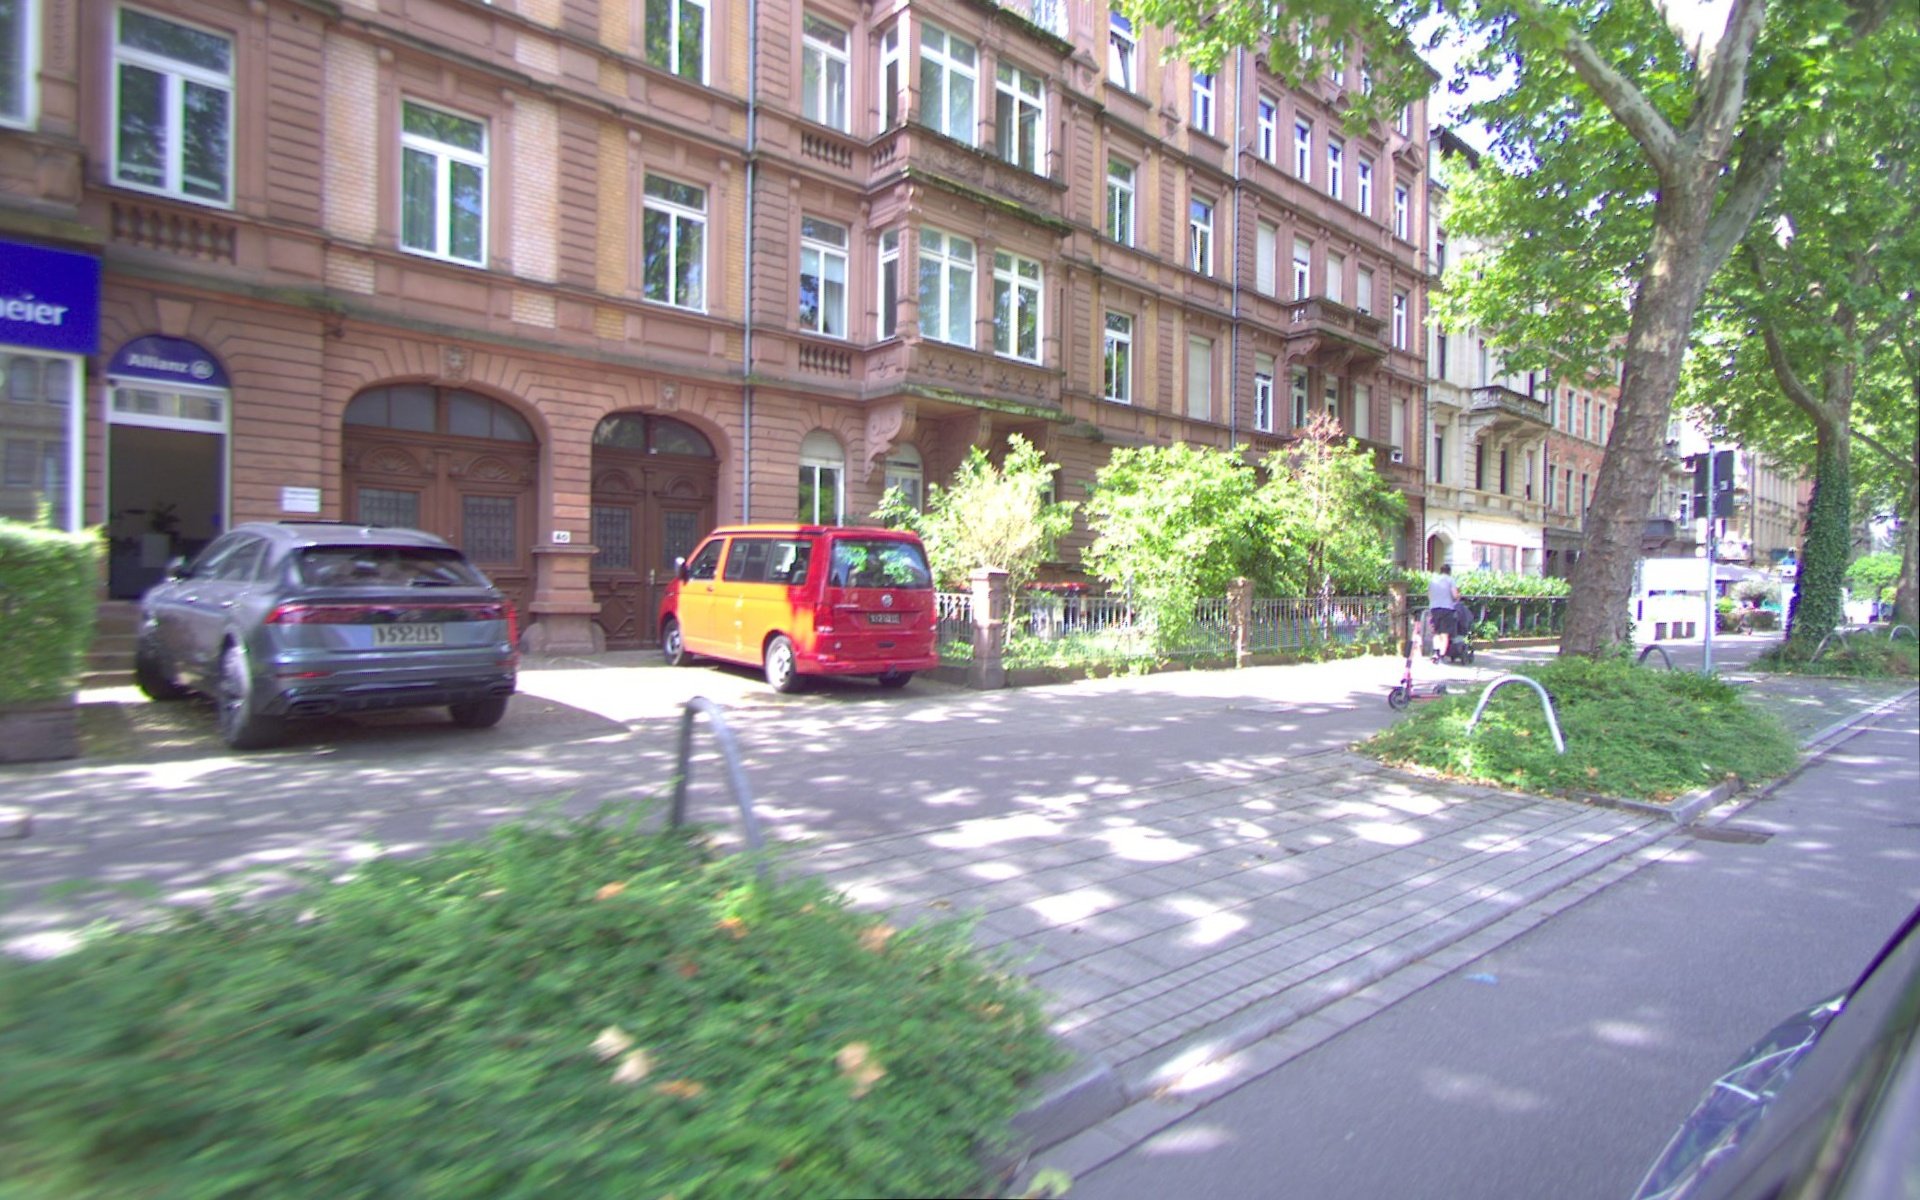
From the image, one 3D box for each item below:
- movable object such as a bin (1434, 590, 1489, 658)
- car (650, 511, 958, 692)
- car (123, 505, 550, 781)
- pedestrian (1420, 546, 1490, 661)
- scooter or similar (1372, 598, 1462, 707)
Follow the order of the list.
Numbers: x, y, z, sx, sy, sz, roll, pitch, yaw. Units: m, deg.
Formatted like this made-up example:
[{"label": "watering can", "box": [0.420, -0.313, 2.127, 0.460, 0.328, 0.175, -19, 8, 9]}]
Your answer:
[{"label": "movable object such as a bin", "box": [9.566, 0.446, 19.288, 0.607, 1.224, 1.042, 4, 3, 43]}, {"label": "car", "box": [-2.217, -0.128, 13.335, 1.948, 1.962, 4.407, 1, 4, -40]}, {"label": "car", "box": [-5.749, 0.138, 9.039, 4.719, 1.804, 1.975, 5, 4, 42]}, {"label": "pedestrian", "box": [9.164, 0.045, 18.737, 0.764, 2.038, 1.102, 5, 3, 44]}, {"label": "scooter or similar", "box": [5.463, 0.600, 12.073, 1.300, 1.226, 0.467, 0, 1, -42]}]
